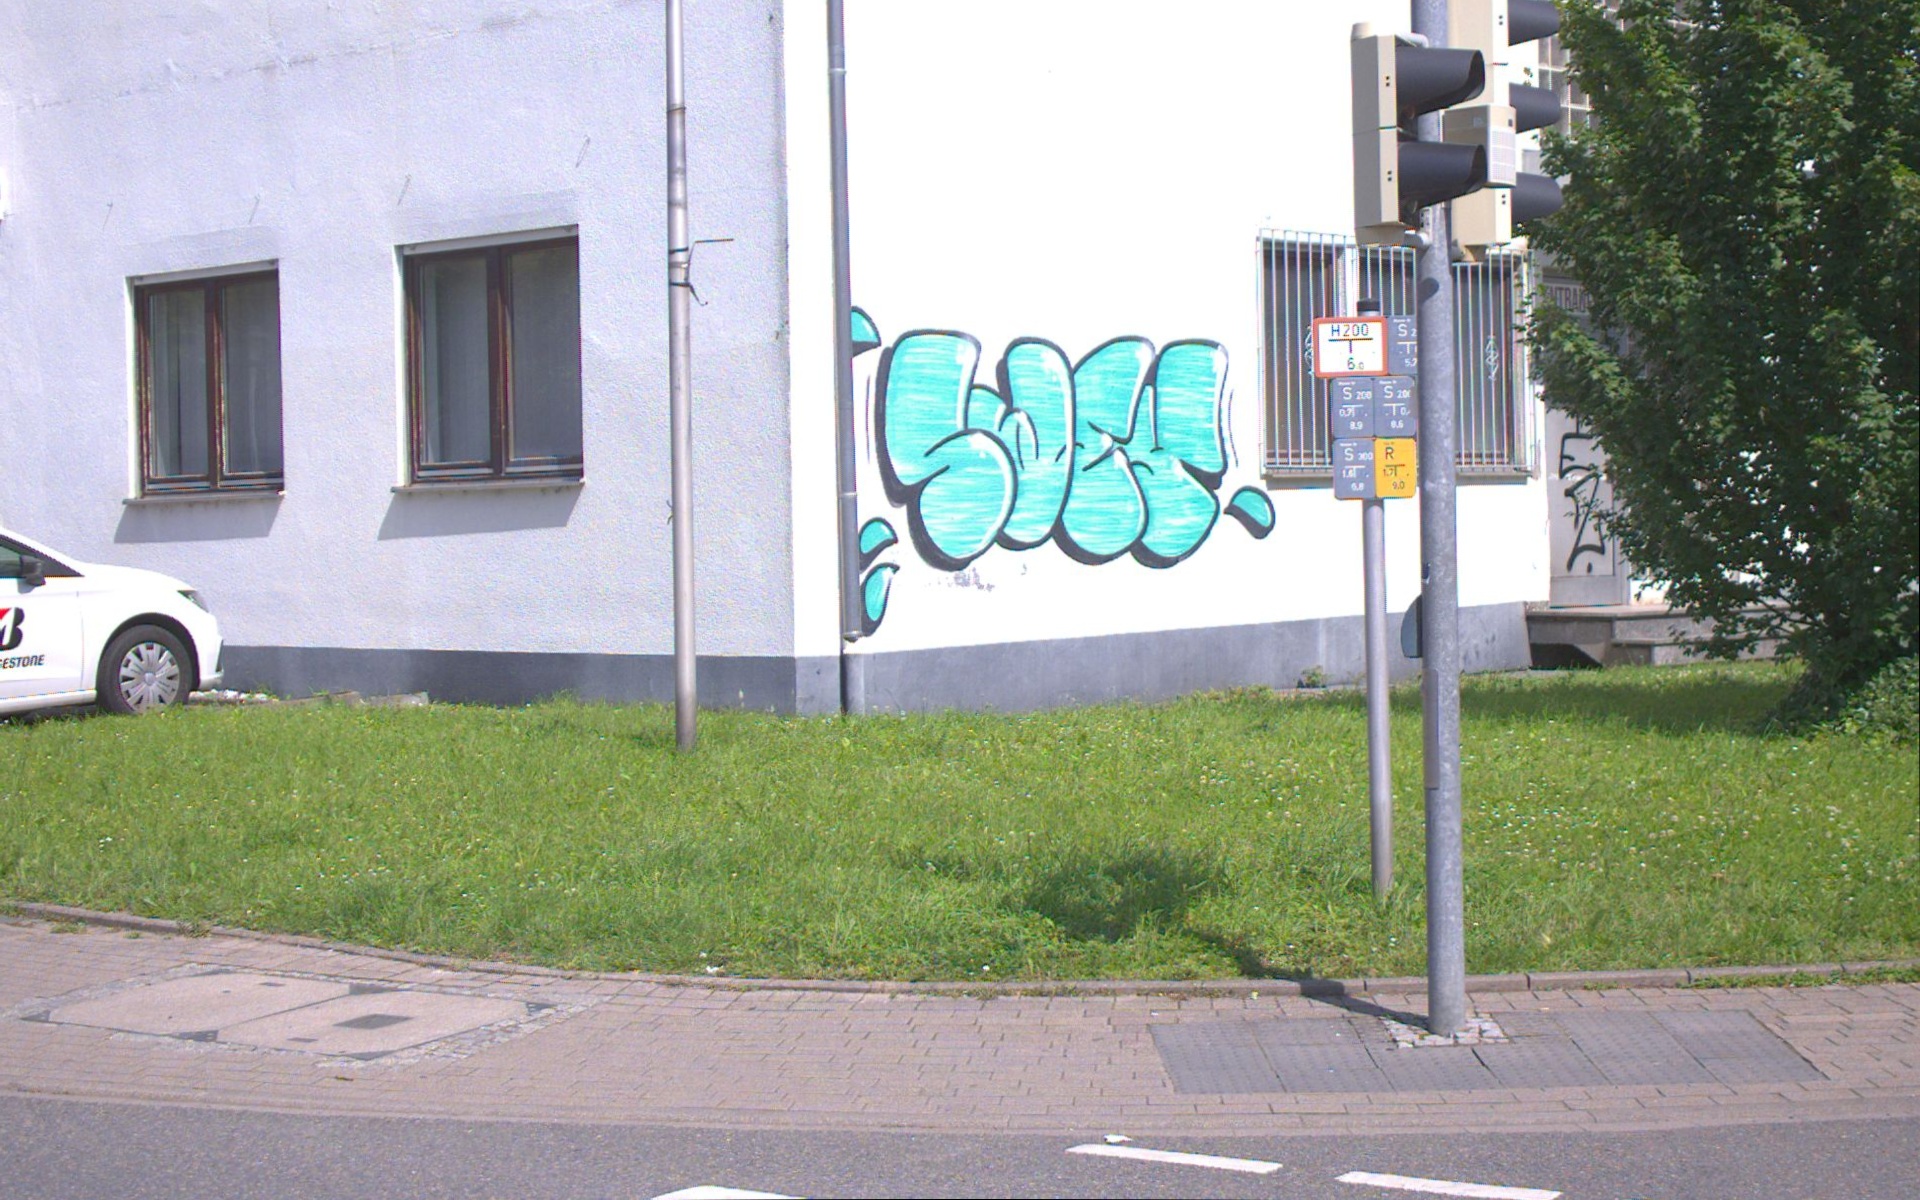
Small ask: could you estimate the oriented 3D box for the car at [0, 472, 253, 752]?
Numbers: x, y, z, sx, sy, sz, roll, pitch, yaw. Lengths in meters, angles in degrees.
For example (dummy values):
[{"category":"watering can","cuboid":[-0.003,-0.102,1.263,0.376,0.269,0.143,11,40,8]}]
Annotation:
[{"category":"car","cuboid":[-6.270,0.141,19.581,1.888,1.457,3.991,0,5,41]}]
